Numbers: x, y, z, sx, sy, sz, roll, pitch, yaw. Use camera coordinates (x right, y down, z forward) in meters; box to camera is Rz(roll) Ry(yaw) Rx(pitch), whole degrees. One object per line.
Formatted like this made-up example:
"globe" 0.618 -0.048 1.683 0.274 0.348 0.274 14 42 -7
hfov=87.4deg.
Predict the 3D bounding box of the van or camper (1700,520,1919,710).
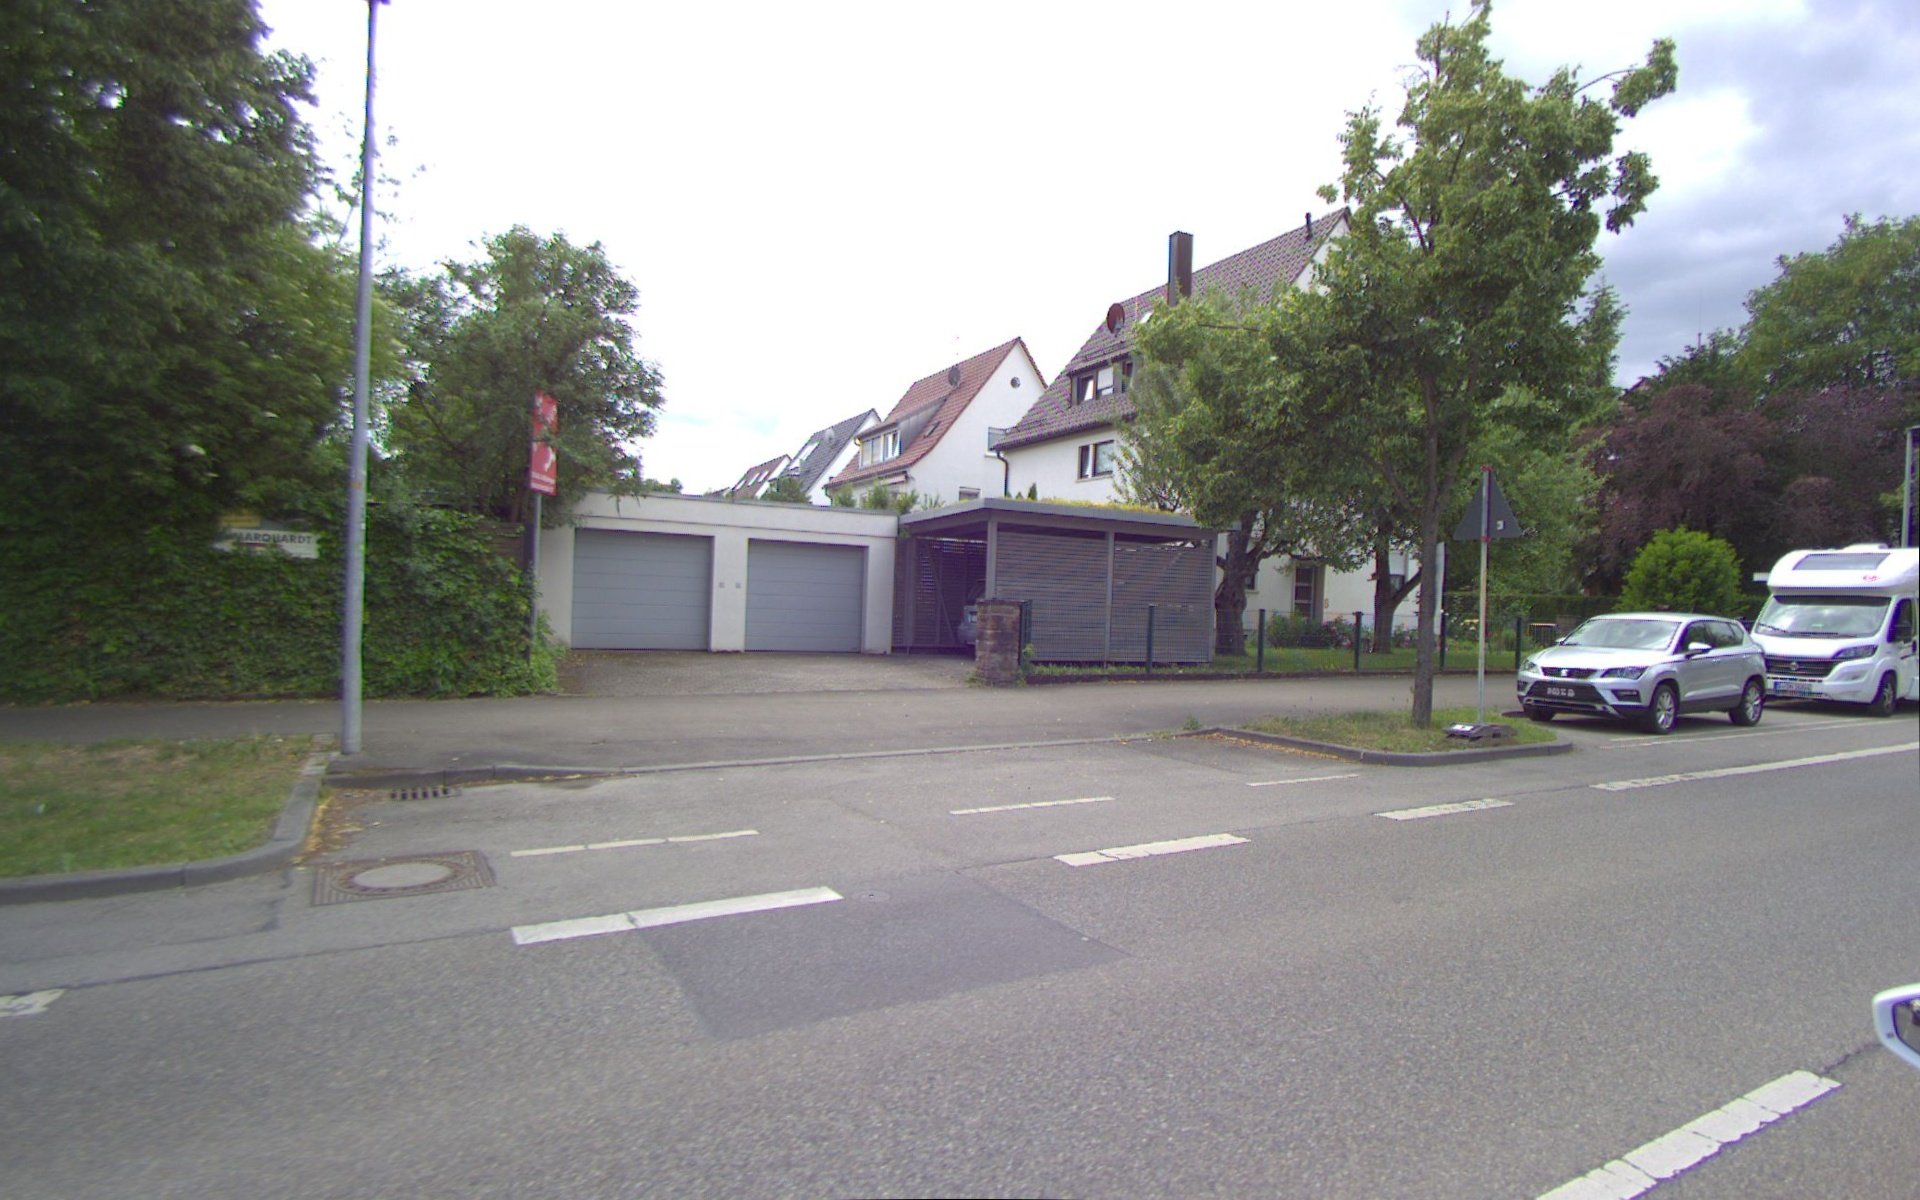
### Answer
"van or camper" 17.323 0.324 19.103 7.603 3.049 2.423 2 0 -31

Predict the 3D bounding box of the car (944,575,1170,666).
"car" 1.842 0.383 18.832 3.952 1.550 1.699 2 0 -30

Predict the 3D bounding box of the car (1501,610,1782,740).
"car" 9.970 1.012 14.630 4.222 1.622 1.714 2 0 -30
